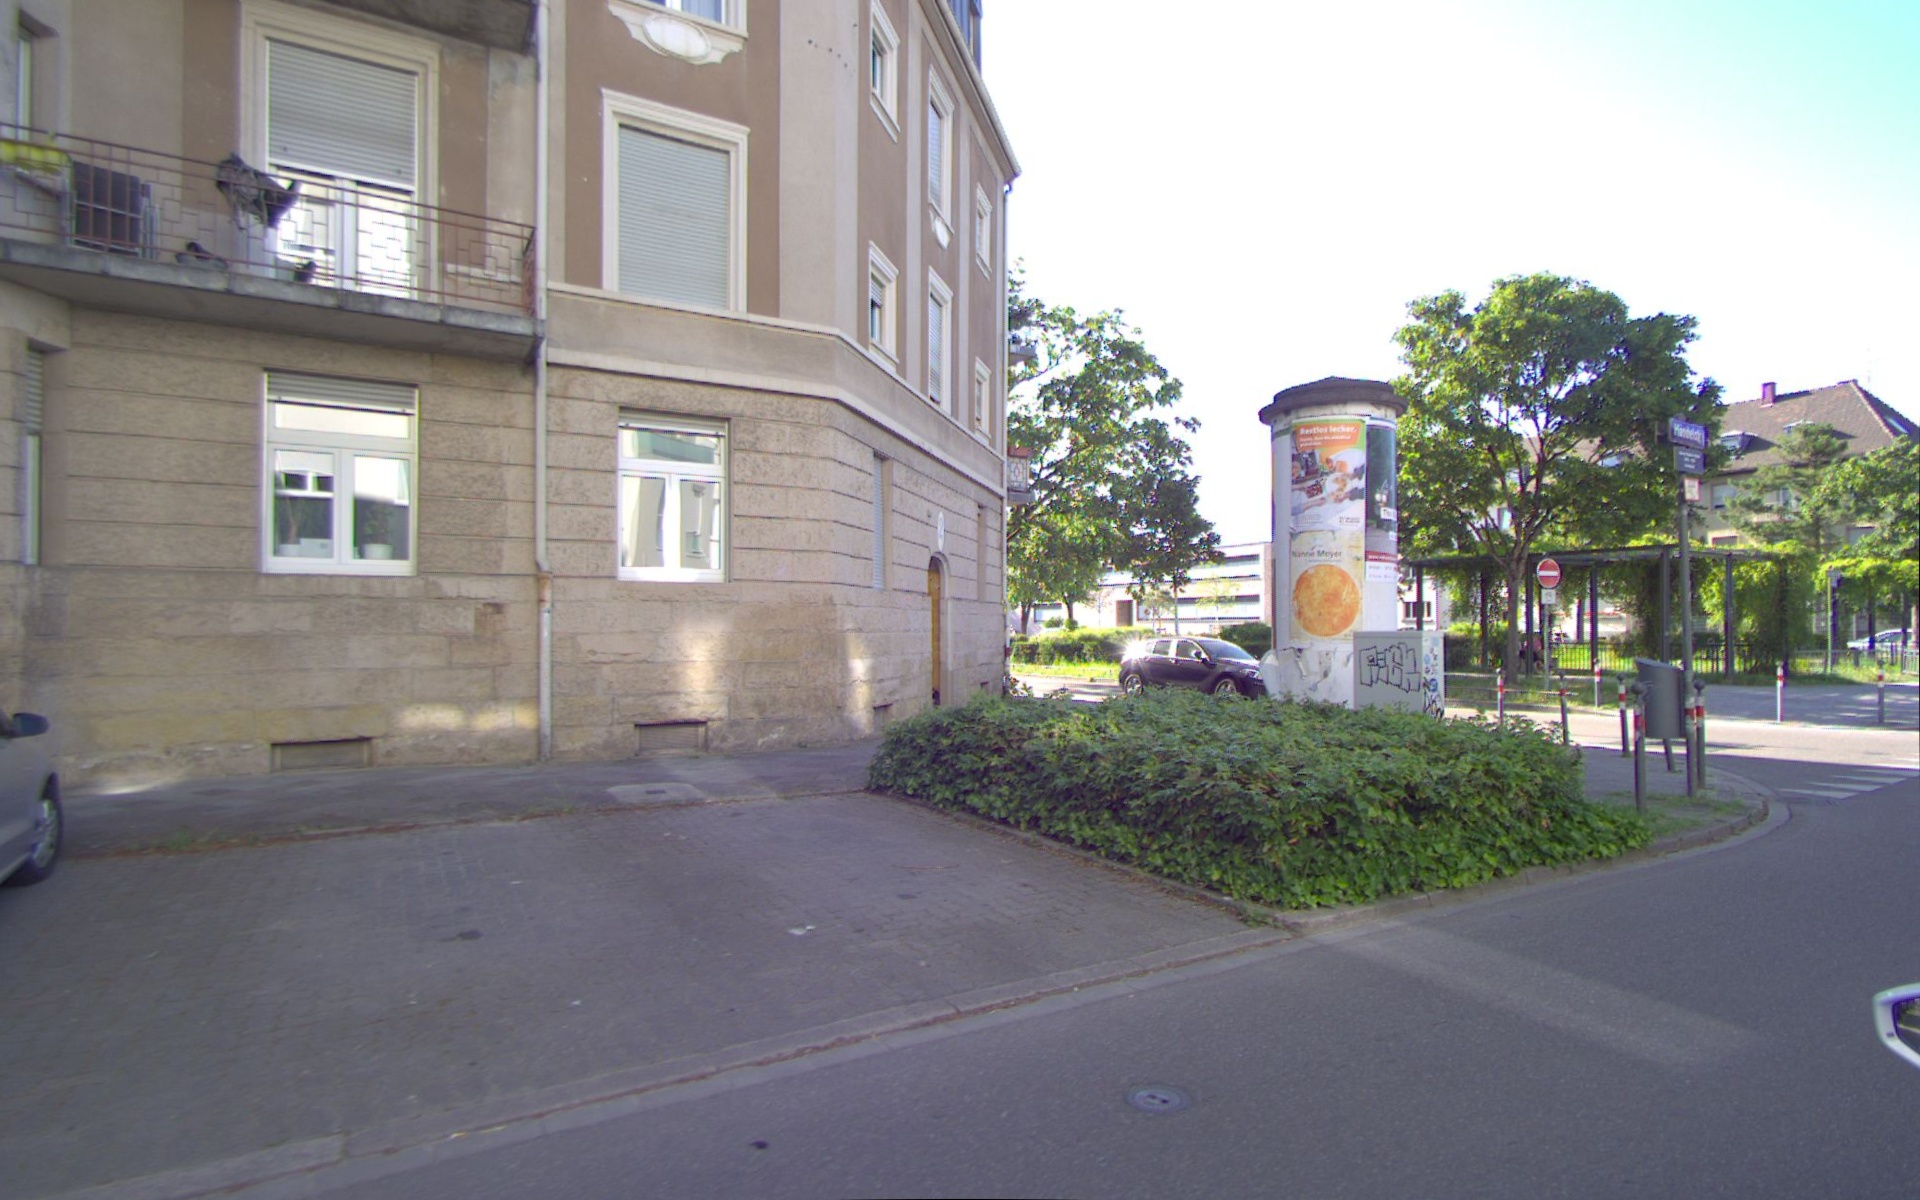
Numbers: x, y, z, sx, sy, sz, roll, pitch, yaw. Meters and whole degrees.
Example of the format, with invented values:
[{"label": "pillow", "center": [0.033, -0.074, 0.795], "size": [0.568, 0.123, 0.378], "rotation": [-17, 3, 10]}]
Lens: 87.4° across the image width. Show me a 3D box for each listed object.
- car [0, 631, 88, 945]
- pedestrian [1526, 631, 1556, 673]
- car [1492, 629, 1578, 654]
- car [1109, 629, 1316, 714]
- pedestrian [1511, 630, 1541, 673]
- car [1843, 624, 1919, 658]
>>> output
[{"label": "car", "center": [-5.303, 0.886, 4.387], "size": [1.711, 1.449, 3.560], "rotation": [1, -1, -32]}, {"label": "pedestrian", "center": [16.733, 1.493, 28.928], "size": [0.477, 1.184, 0.543], "rotation": [2, 0, -29]}, {"label": "car", "center": [33.366, 2.407, 58.369], "size": [1.846, 1.394, 3.964], "rotation": [1, -2, -33]}, {"label": "car", "center": [5.090, 1.426, 20.793], "size": [1.786, 1.503, 4.120], "rotation": [6, -5, -29]}, {"label": "pedestrian", "center": [16.087, 1.467, 28.562], "size": [0.477, 1.184, 0.543], "rotation": [2, 0, -29]}, {"label": "car", "center": [41.482, 1.812, 43.879], "size": [1.979, 1.394, 3.963], "rotation": [2, -1, -33]}]
